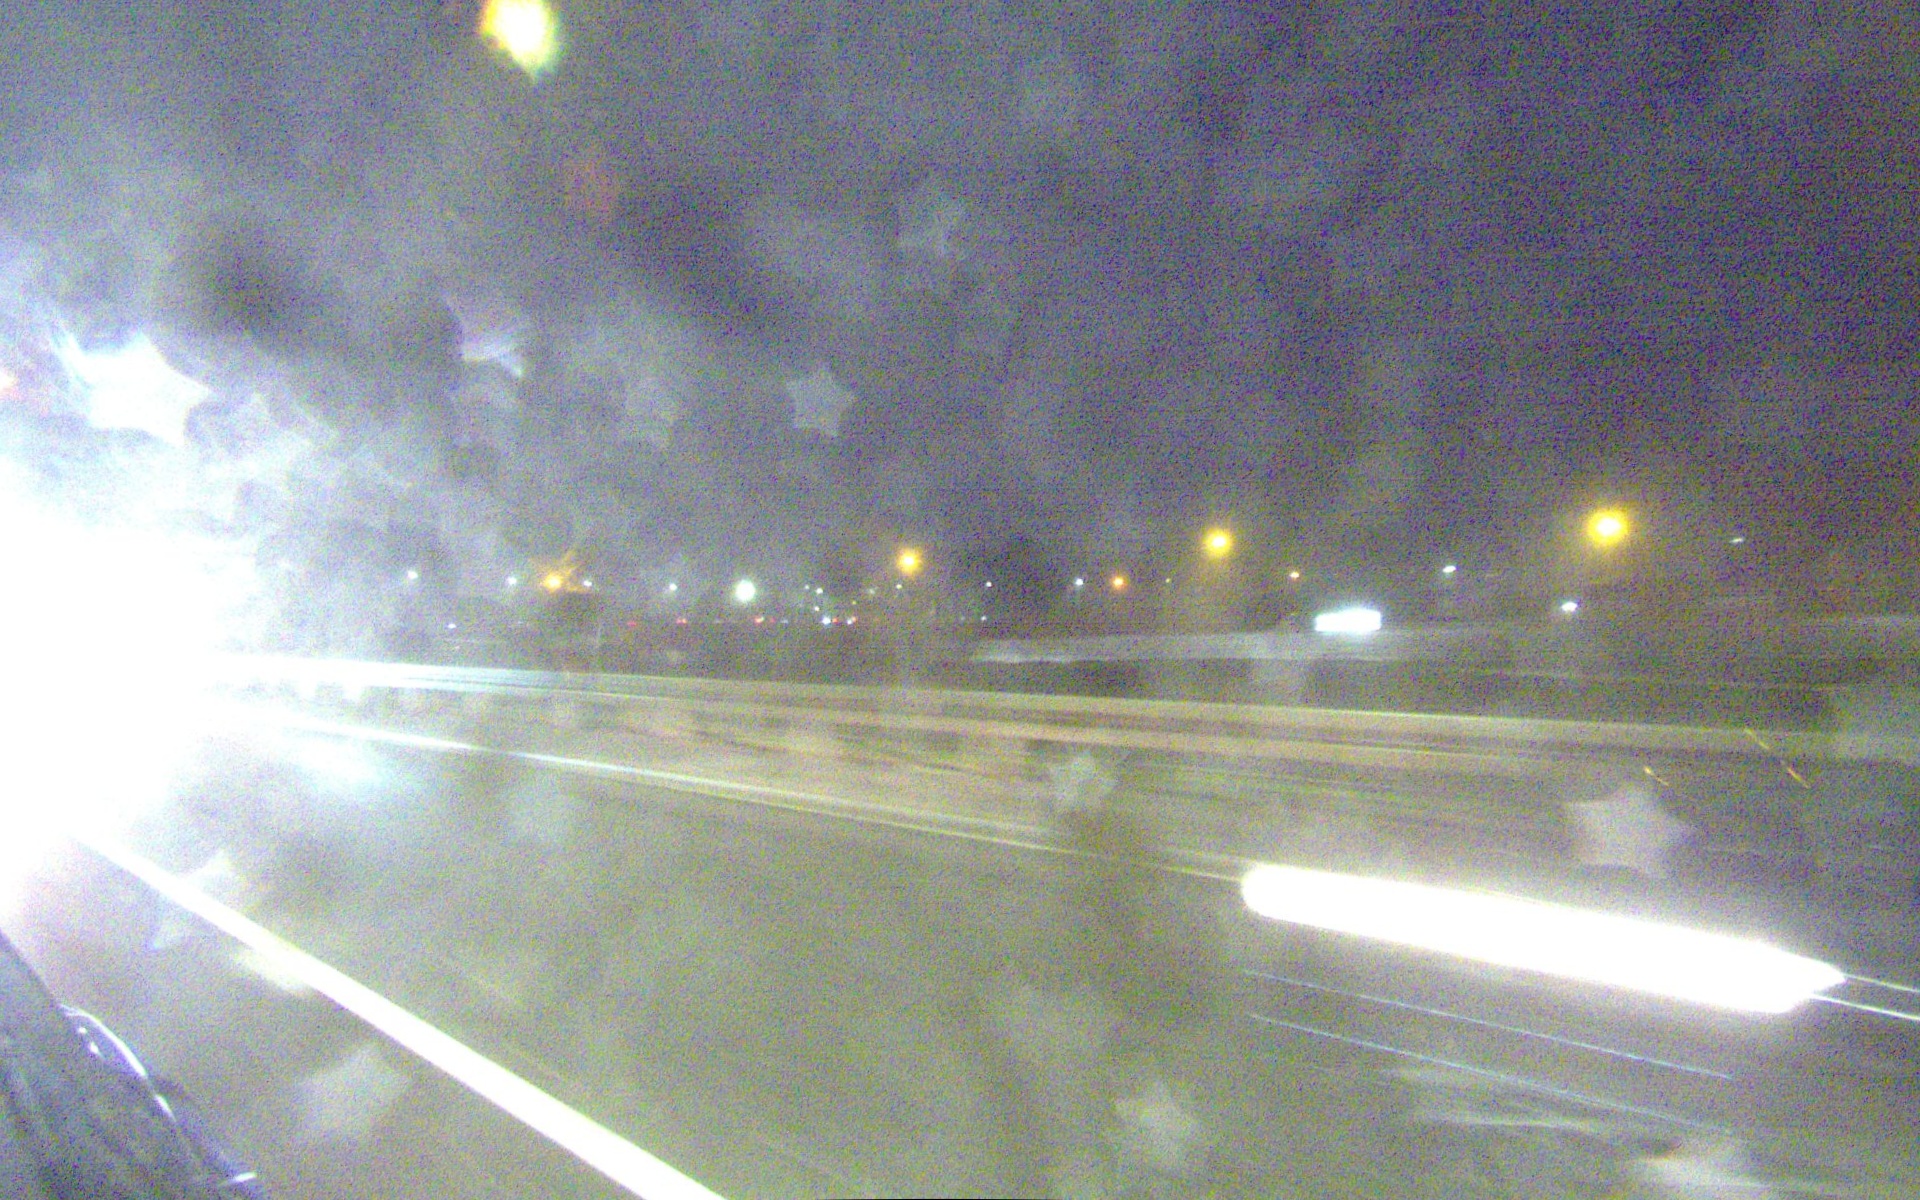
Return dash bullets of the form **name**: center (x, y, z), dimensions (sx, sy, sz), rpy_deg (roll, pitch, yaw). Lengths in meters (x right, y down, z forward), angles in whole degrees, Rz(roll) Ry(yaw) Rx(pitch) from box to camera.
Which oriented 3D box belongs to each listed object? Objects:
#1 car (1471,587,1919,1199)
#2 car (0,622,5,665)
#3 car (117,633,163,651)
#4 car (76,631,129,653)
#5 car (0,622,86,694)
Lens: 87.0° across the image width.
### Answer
- **car**: center (3.267, 0.653, 1.685), dimensions (4.030, 1.413, 1.807), rpy_deg (-2, 0, 38)
- **car**: center (-35.151, 1.533, 35.856), dimensions (4.045, 1.490, 1.600), rpy_deg (-1, -2, 42)
- **car**: center (-70.737, 3.579, 87.373), dimensions (1.965, 1.495, 4.013), rpy_deg (0, -2, -23)
- **car**: center (-57.690, 2.800, 68.157), dimensions (1.767, 1.402, 4.606), rpy_deg (2, -2, -29)
- **car**: center (-20.856, 1.233, 22.272), dimensions (4.323, 1.442, 1.742), rpy_deg (-1, -1, 39)
